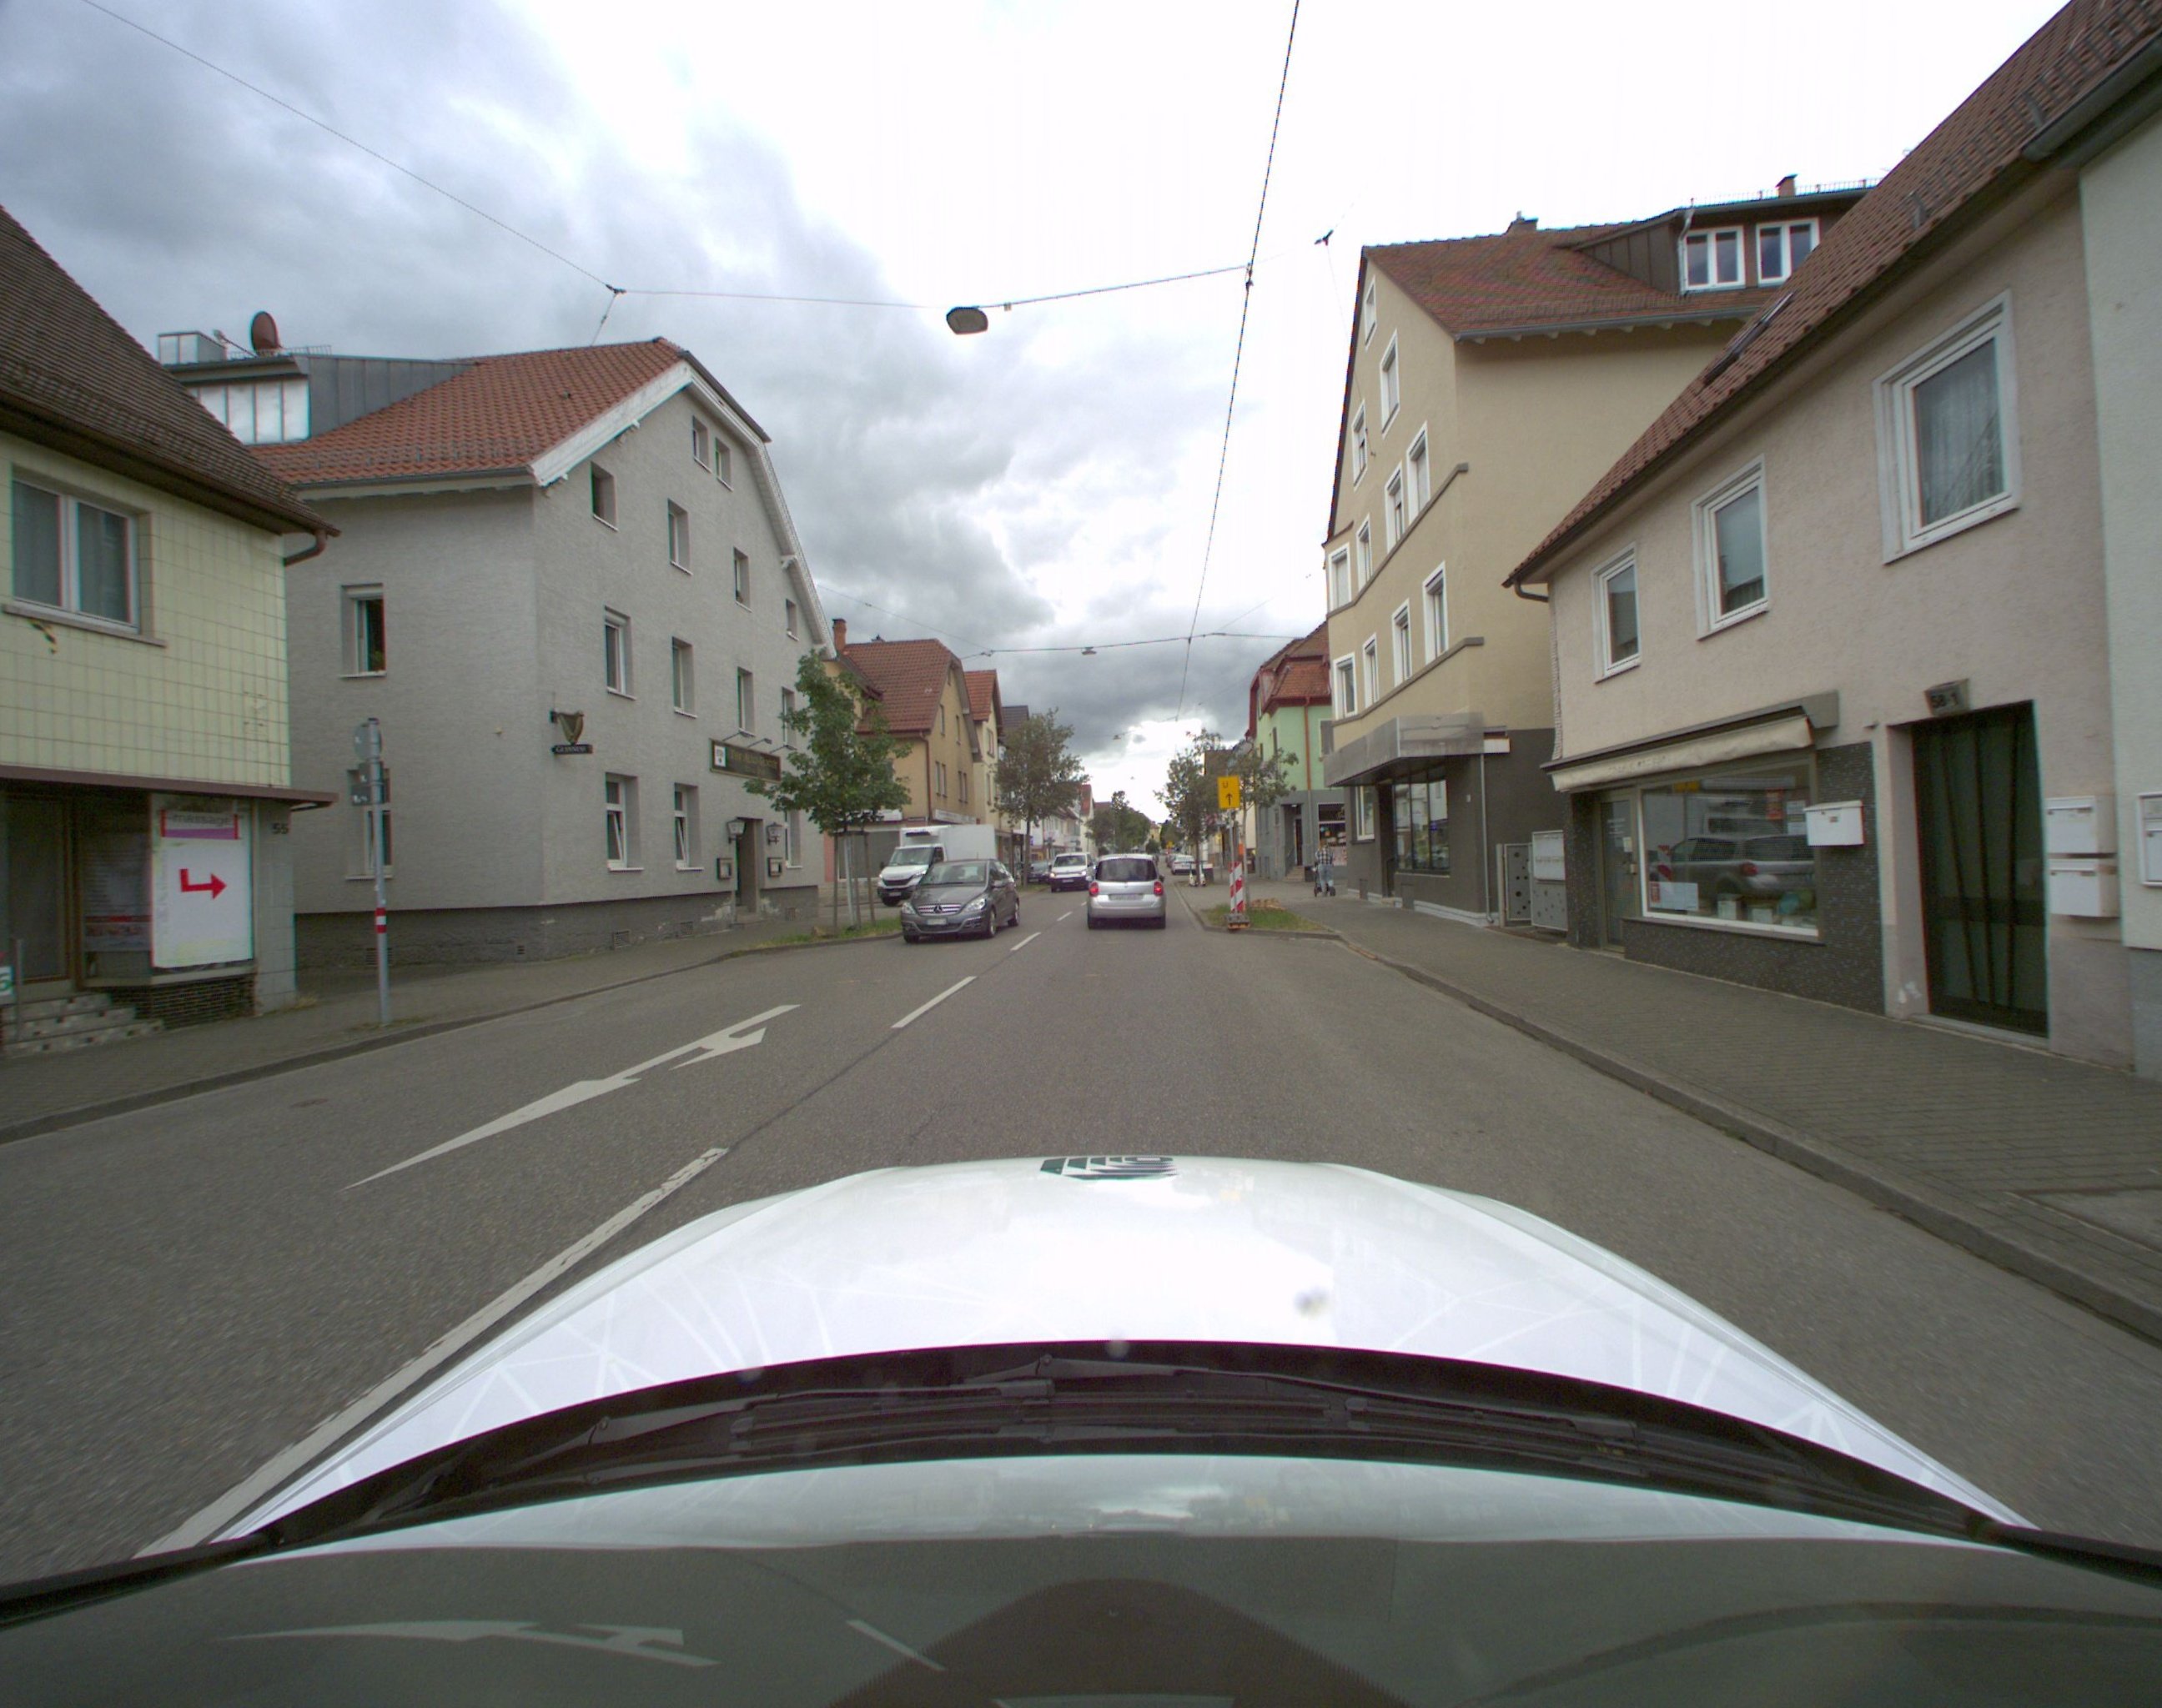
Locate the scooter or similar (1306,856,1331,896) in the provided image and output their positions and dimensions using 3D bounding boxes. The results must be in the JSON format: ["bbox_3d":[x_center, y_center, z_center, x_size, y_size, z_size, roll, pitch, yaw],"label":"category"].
[{"bbox_3d":[7.393,0.673,25.379,0.587,1.233,0.892,-1,-1,5],"label":"scooter or similar"}]

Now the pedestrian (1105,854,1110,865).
[{"bbox_3d":[4.499,0.932,136.897,0.759,1.791,0.891,-1,-1,5],"label":"pedestrian"}]

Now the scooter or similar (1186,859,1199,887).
[{"bbox_3d":[5.055,0.858,36.987,0.499,1.235,1.945,-1,0,5],"label":"scooter or similar"}]

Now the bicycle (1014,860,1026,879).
[{"bbox_3d":[-4.252,1.070,56.679,0.499,1.235,1.945,-1,0,5],"label":"bicycle"}]

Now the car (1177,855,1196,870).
[{"bbox_3d":[10.992,0.855,85.160,1.822,1.497,4.000,-1,0,6],"label":"car"}]

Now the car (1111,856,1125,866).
[{"bbox_3d":[5.946,1.101,130.884,1.938,1.467,4.523,-4,-1,6],"label":"car"}]

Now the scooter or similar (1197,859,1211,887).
[{"bbox_3d":[5.587,0.849,36.965,0.499,1.235,1.945,-1,0,5],"label":"scooter or similar"}]

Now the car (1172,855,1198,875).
[{"bbox_3d":[7.584,0.792,59.895,1.822,1.446,4.339,-1,0,6],"label":"car"}]

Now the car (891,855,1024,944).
[{"bbox_3d":[-2.458,0.866,17.251,1.772,1.552,4.080,-4,-1,5],"label":"car"}]

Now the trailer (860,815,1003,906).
[{"bbox_3d":[-5.744,0.260,32.663,2.483,3.219,7.168,-1,0,18],"label":"trailer"}]

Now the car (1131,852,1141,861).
[{"bbox_3d":[11.892,0.585,175.242,1.891,1.737,4.373,-3,-1,6],"label":"car"}]

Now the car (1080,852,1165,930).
[{"bbox_3d":[1.048,0.751,18.502,1.674,1.566,4.000,-1,0,6],"label":"car"}]

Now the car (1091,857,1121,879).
[{"bbox_3d":[1.924,1.020,60.602,1.833,1.433,4.551,-3,-1,6],"label":"car"}]

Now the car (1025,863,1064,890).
[{"bbox_3d":[-2.101,1.277,47.328,1.674,1.424,3.936,-3,-1,5],"label":"car"}]

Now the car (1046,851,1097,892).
[{"bbox_3d":[-0.392,0.803,39.835,1.984,1.796,4.283,-3,-1,5],"label":"car"}]

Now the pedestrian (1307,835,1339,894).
[{"bbox_3d":[7.269,0.321,24.487,0.746,1.720,0.901,-1,-1,5],"label":"pedestrian"}]
